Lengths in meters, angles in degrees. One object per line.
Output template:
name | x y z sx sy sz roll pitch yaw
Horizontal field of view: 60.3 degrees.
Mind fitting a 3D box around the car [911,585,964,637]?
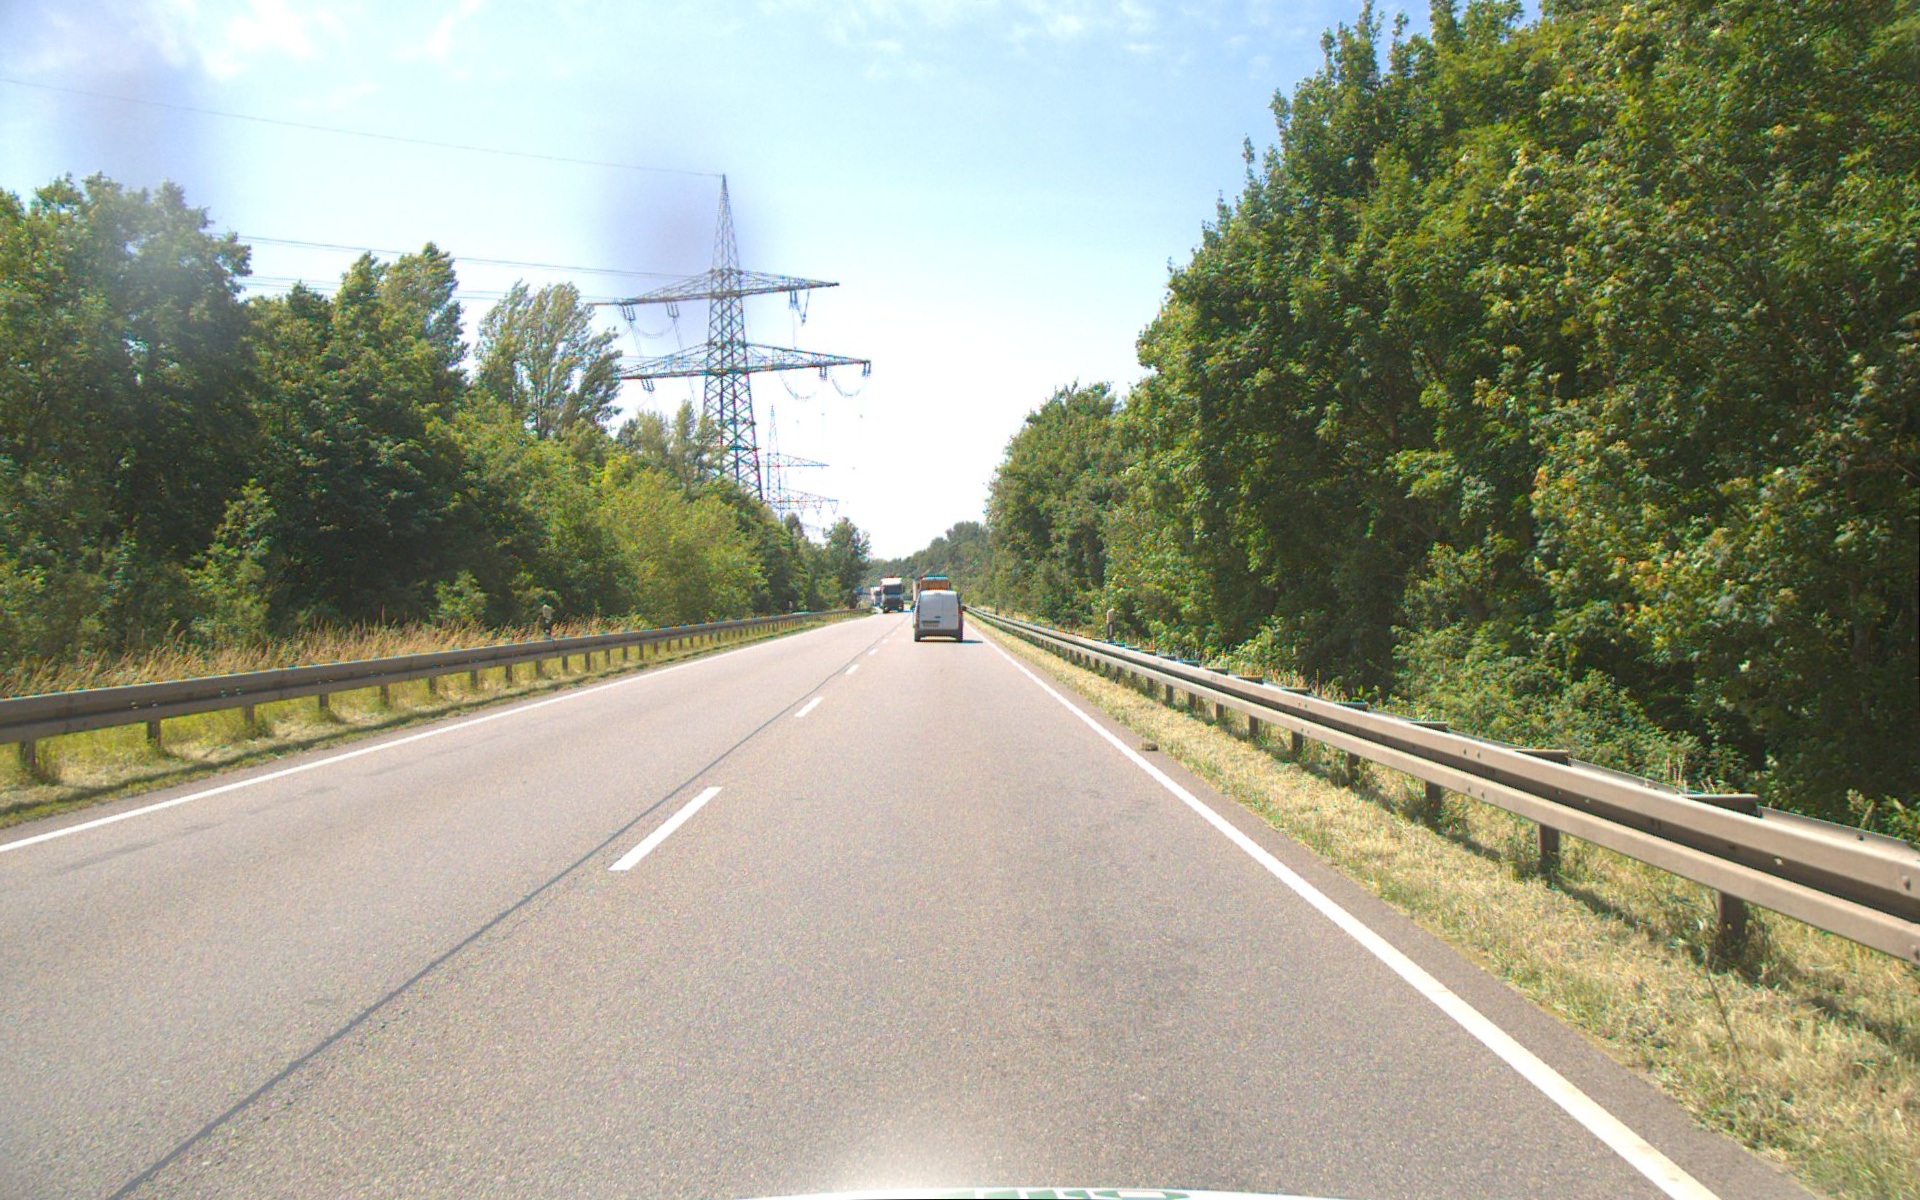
car | -0.829 0.366 59.475 1.837 1.772 3.999 1 1 -1

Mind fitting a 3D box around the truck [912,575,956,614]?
truck | -2.396 -0.601 146.454 3.231 3.227 14.396 1 1 -3

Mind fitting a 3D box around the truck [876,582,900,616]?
truck | -8.607 -0.121 197.463 2.707 4.069 5.905 1 0 -1

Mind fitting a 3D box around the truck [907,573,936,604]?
truck | -5.272 -1.586 221.485 3.335 3.922 16.807 1 1 -3
